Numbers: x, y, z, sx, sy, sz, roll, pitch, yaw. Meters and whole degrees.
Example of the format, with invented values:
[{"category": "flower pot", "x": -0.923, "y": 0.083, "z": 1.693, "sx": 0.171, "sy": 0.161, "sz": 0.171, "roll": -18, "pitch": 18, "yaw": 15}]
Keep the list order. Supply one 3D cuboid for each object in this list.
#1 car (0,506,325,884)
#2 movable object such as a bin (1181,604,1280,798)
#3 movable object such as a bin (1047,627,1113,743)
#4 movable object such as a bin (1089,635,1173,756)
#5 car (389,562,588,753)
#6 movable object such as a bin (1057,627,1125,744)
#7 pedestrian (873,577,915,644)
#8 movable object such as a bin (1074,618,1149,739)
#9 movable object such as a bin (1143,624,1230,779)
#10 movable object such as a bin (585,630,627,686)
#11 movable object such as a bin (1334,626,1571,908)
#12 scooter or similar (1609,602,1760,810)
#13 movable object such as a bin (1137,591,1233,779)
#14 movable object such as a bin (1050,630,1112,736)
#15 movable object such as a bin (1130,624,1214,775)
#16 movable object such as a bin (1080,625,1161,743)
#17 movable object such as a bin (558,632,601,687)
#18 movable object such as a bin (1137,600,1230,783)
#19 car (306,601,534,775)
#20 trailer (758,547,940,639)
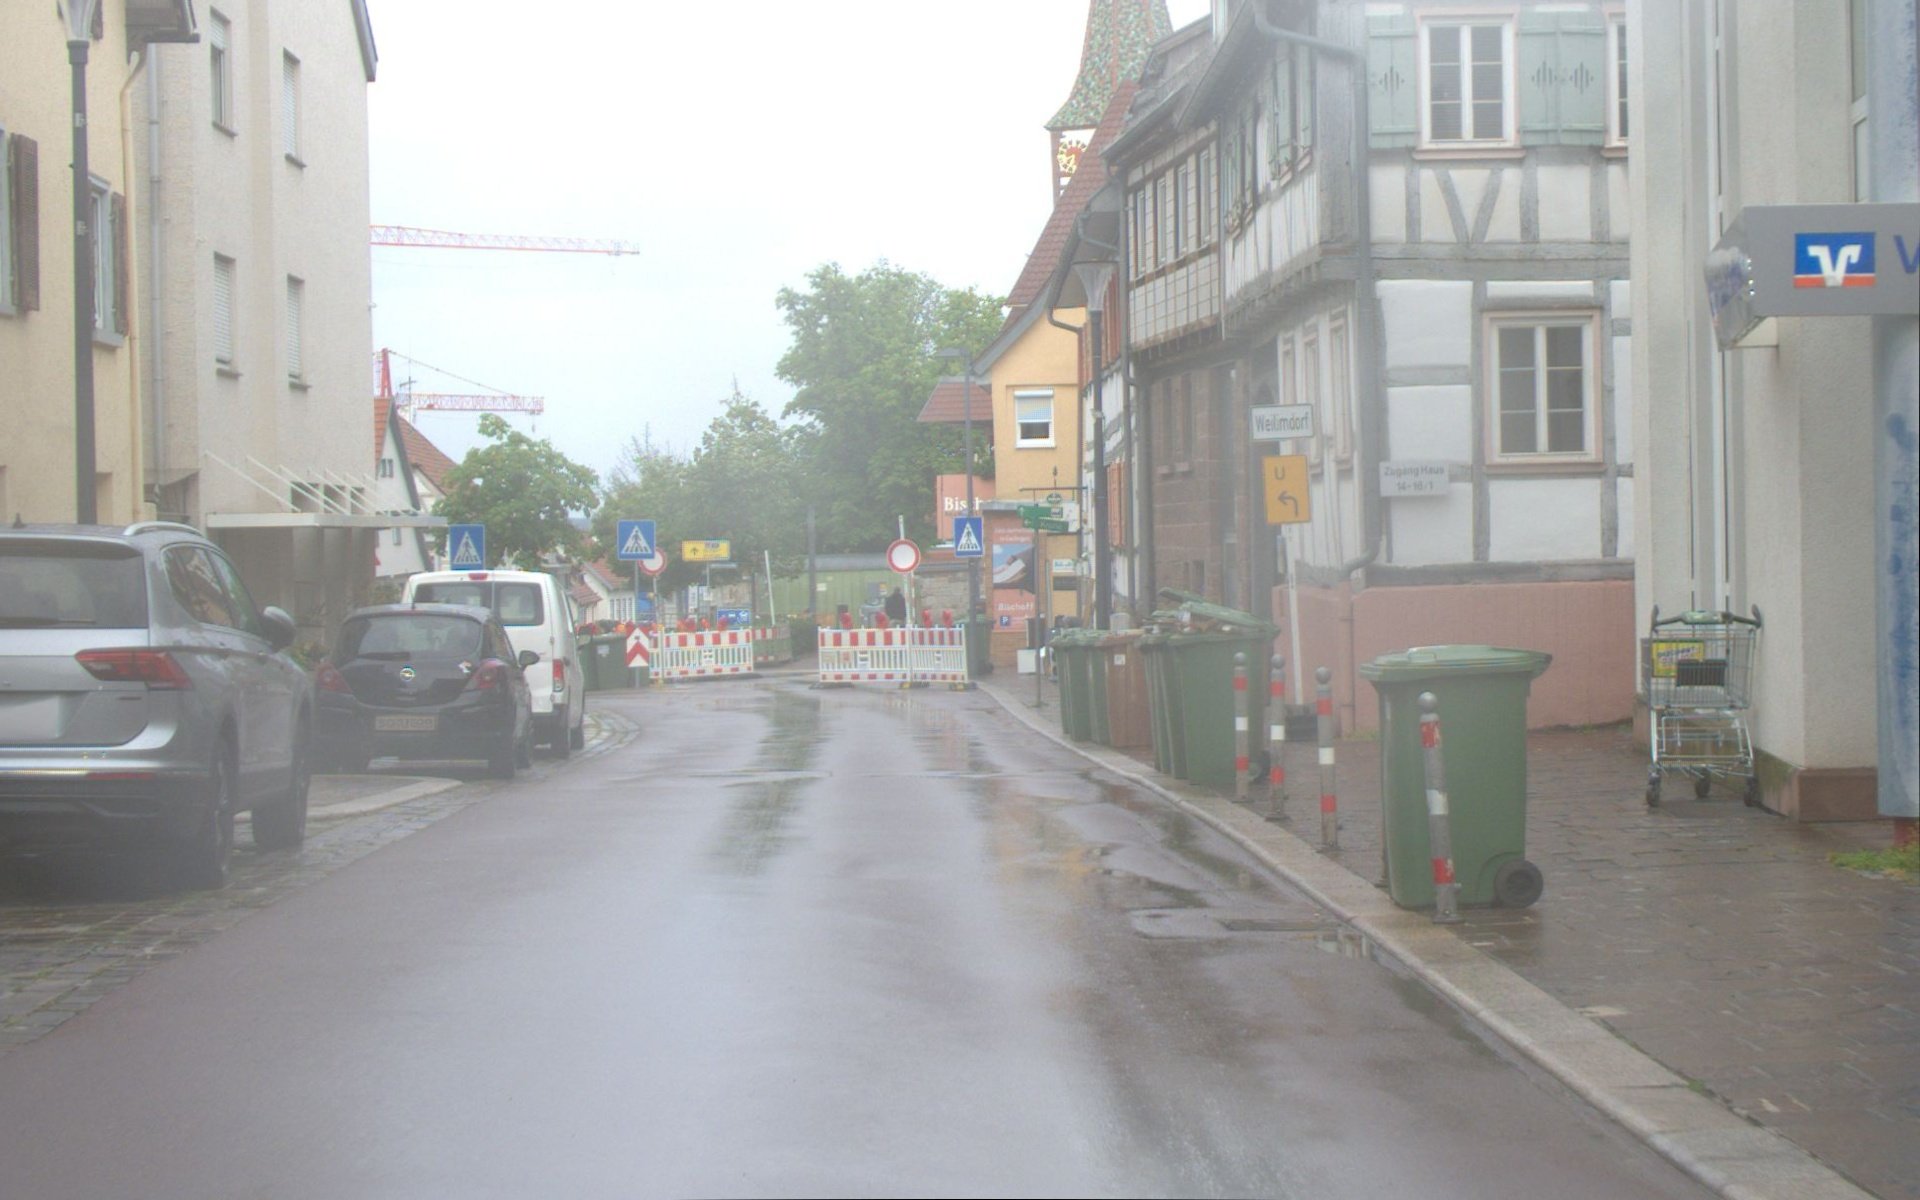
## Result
[{"category": "car", "x": -4.222, "y": 0.423, "z": 16.505, "sx": 1.779, "sy": 1.563, "sz": 4.408, "roll": -1, "pitch": -1, "yaw": -4}, {"category": "movable object such as a bin", "x": 1.825, "y": 0.676, "z": 23.242, "sx": 0.638, "sy": 1.286, "sz": 0.632, "roll": -1, "pitch": -1, "yaw": 3}, {"category": "movable object such as a bin", "x": 1.213, "y": 0.853, "z": 34.660, "sx": 0.638, "sy": 1.143, "sz": 0.580, "roll": -1, "pitch": -1, "yaw": 3}, {"category": "movable object such as a bin", "x": 1.560, "y": 0.866, "z": 31.422, "sx": 0.678, "sy": 1.093, "sz": 0.650, "roll": 0, "pitch": 0, "yaw": -5}, {"category": "car", "x": -4.786, "y": 0.577, "z": 35.362, "sx": 1.723, "sy": 1.819, "sz": 4.429, "roll": -1, "pitch": -1, "yaw": -4}, {"category": "movable object such as a bin", "x": 1.299, "y": 0.842, "z": 34.026, "sx": 0.638, "sy": 1.143, "sz": 0.603, "roll": -1, "pitch": -1, "yaw": 3}, {"category": "pedestrian", "x": -1.725, "y": 0.277, "z": 90.298, "sx": 0.990, "sy": 1.753, "sz": 0.852, "roll": -1, "pitch": -1, "yaw": -8}, {"category": "movable object such as a bin", "x": 1.466, "y": 0.755, "z": 33.275, "sx": 0.638, "sy": 1.143, "sz": 0.632, "roll": -1, "pitch": -1, "yaw": -4}, {"category": "movable object such as a bin", "x": 1.675, "y": 0.744, "z": 25.467, "sx": 0.616, "sy": 1.127, "sz": 0.632, "roll": -1, "pitch": -1, "yaw": 3}, {"category": "movable object such as a bin", "x": -6.776, "y": 1.108, "z": 65.731, "sx": 0.544, "sy": 1.029, "sz": 0.533, "roll": -4, "pitch": -2, "yaw": 31}, {"category": "movable object such as a bin", "x": 2.034, "y": 0.676, "z": 14.305, "sx": 0.804, "sy": 1.127, "sz": 0.862, "roll": -1, "pitch": -1, "yaw": -3}, {"category": "scooter or similar", "x": 4.148, "y": 0.593, "z": 19.763, "sx": 0.665, "sy": 1.142, "sz": 1.445, "roll": -1, "pitch": -1, "yaw": 5}, {"category": "movable object such as a bin", "x": 1.567, "y": 0.590, "z": 24.017, "sx": 0.638, "sy": 1.286, "sz": 0.632, "roll": -1, "pitch": -1, "yaw": 3}, {"category": "movable object such as a bin", "x": 1.296, "y": 0.887, "z": 36.986, "sx": 0.609, "sy": 1.124, "sz": 0.599, "roll": -1, "pitch": -1, "yaw": -2}, {"category": "movable object such as a bin", "x": 1.610, "y": 0.752, "z": 26.143, "sx": 0.616, "sy": 1.127, "sz": 0.632, "roll": -1, "pitch": -1, "yaw": 3}, {"category": "movable object such as a bin", "x": 1.520, "y": 0.795, "z": 32.616, "sx": 0.669, "sy": 1.078, "sz": 0.588, "roll": -2, "pitch": -1, "yaw": -4}, {"category": "movable object such as a bin", "x": -7.315, "y": 1.147, "z": 66.094, "sx": 0.541, "sy": 1.033, "sz": 0.571, "roll": -4, "pitch": -2, "yaw": 31}, {"category": "movable object such as a bin", "x": 1.605, "y": 0.652, "z": 24.721, "sx": 0.638, "sy": 1.286, "sz": 0.632, "roll": -1, "pitch": -1, "yaw": 3}, {"category": "car", "x": -4.592, "y": 0.728, "z": 29.643, "sx": 1.680, "sy": 1.384, "sz": 3.826, "roll": -1, "pitch": -1, "yaw": -5}, {"category": "trailer", "x": -3.657, "y": -0.212, "z": 112.967, "sx": 5.780, "sy": 2.937, "sz": 2.000, "roll": -1, "pitch": -1, "yaw": -7}]
